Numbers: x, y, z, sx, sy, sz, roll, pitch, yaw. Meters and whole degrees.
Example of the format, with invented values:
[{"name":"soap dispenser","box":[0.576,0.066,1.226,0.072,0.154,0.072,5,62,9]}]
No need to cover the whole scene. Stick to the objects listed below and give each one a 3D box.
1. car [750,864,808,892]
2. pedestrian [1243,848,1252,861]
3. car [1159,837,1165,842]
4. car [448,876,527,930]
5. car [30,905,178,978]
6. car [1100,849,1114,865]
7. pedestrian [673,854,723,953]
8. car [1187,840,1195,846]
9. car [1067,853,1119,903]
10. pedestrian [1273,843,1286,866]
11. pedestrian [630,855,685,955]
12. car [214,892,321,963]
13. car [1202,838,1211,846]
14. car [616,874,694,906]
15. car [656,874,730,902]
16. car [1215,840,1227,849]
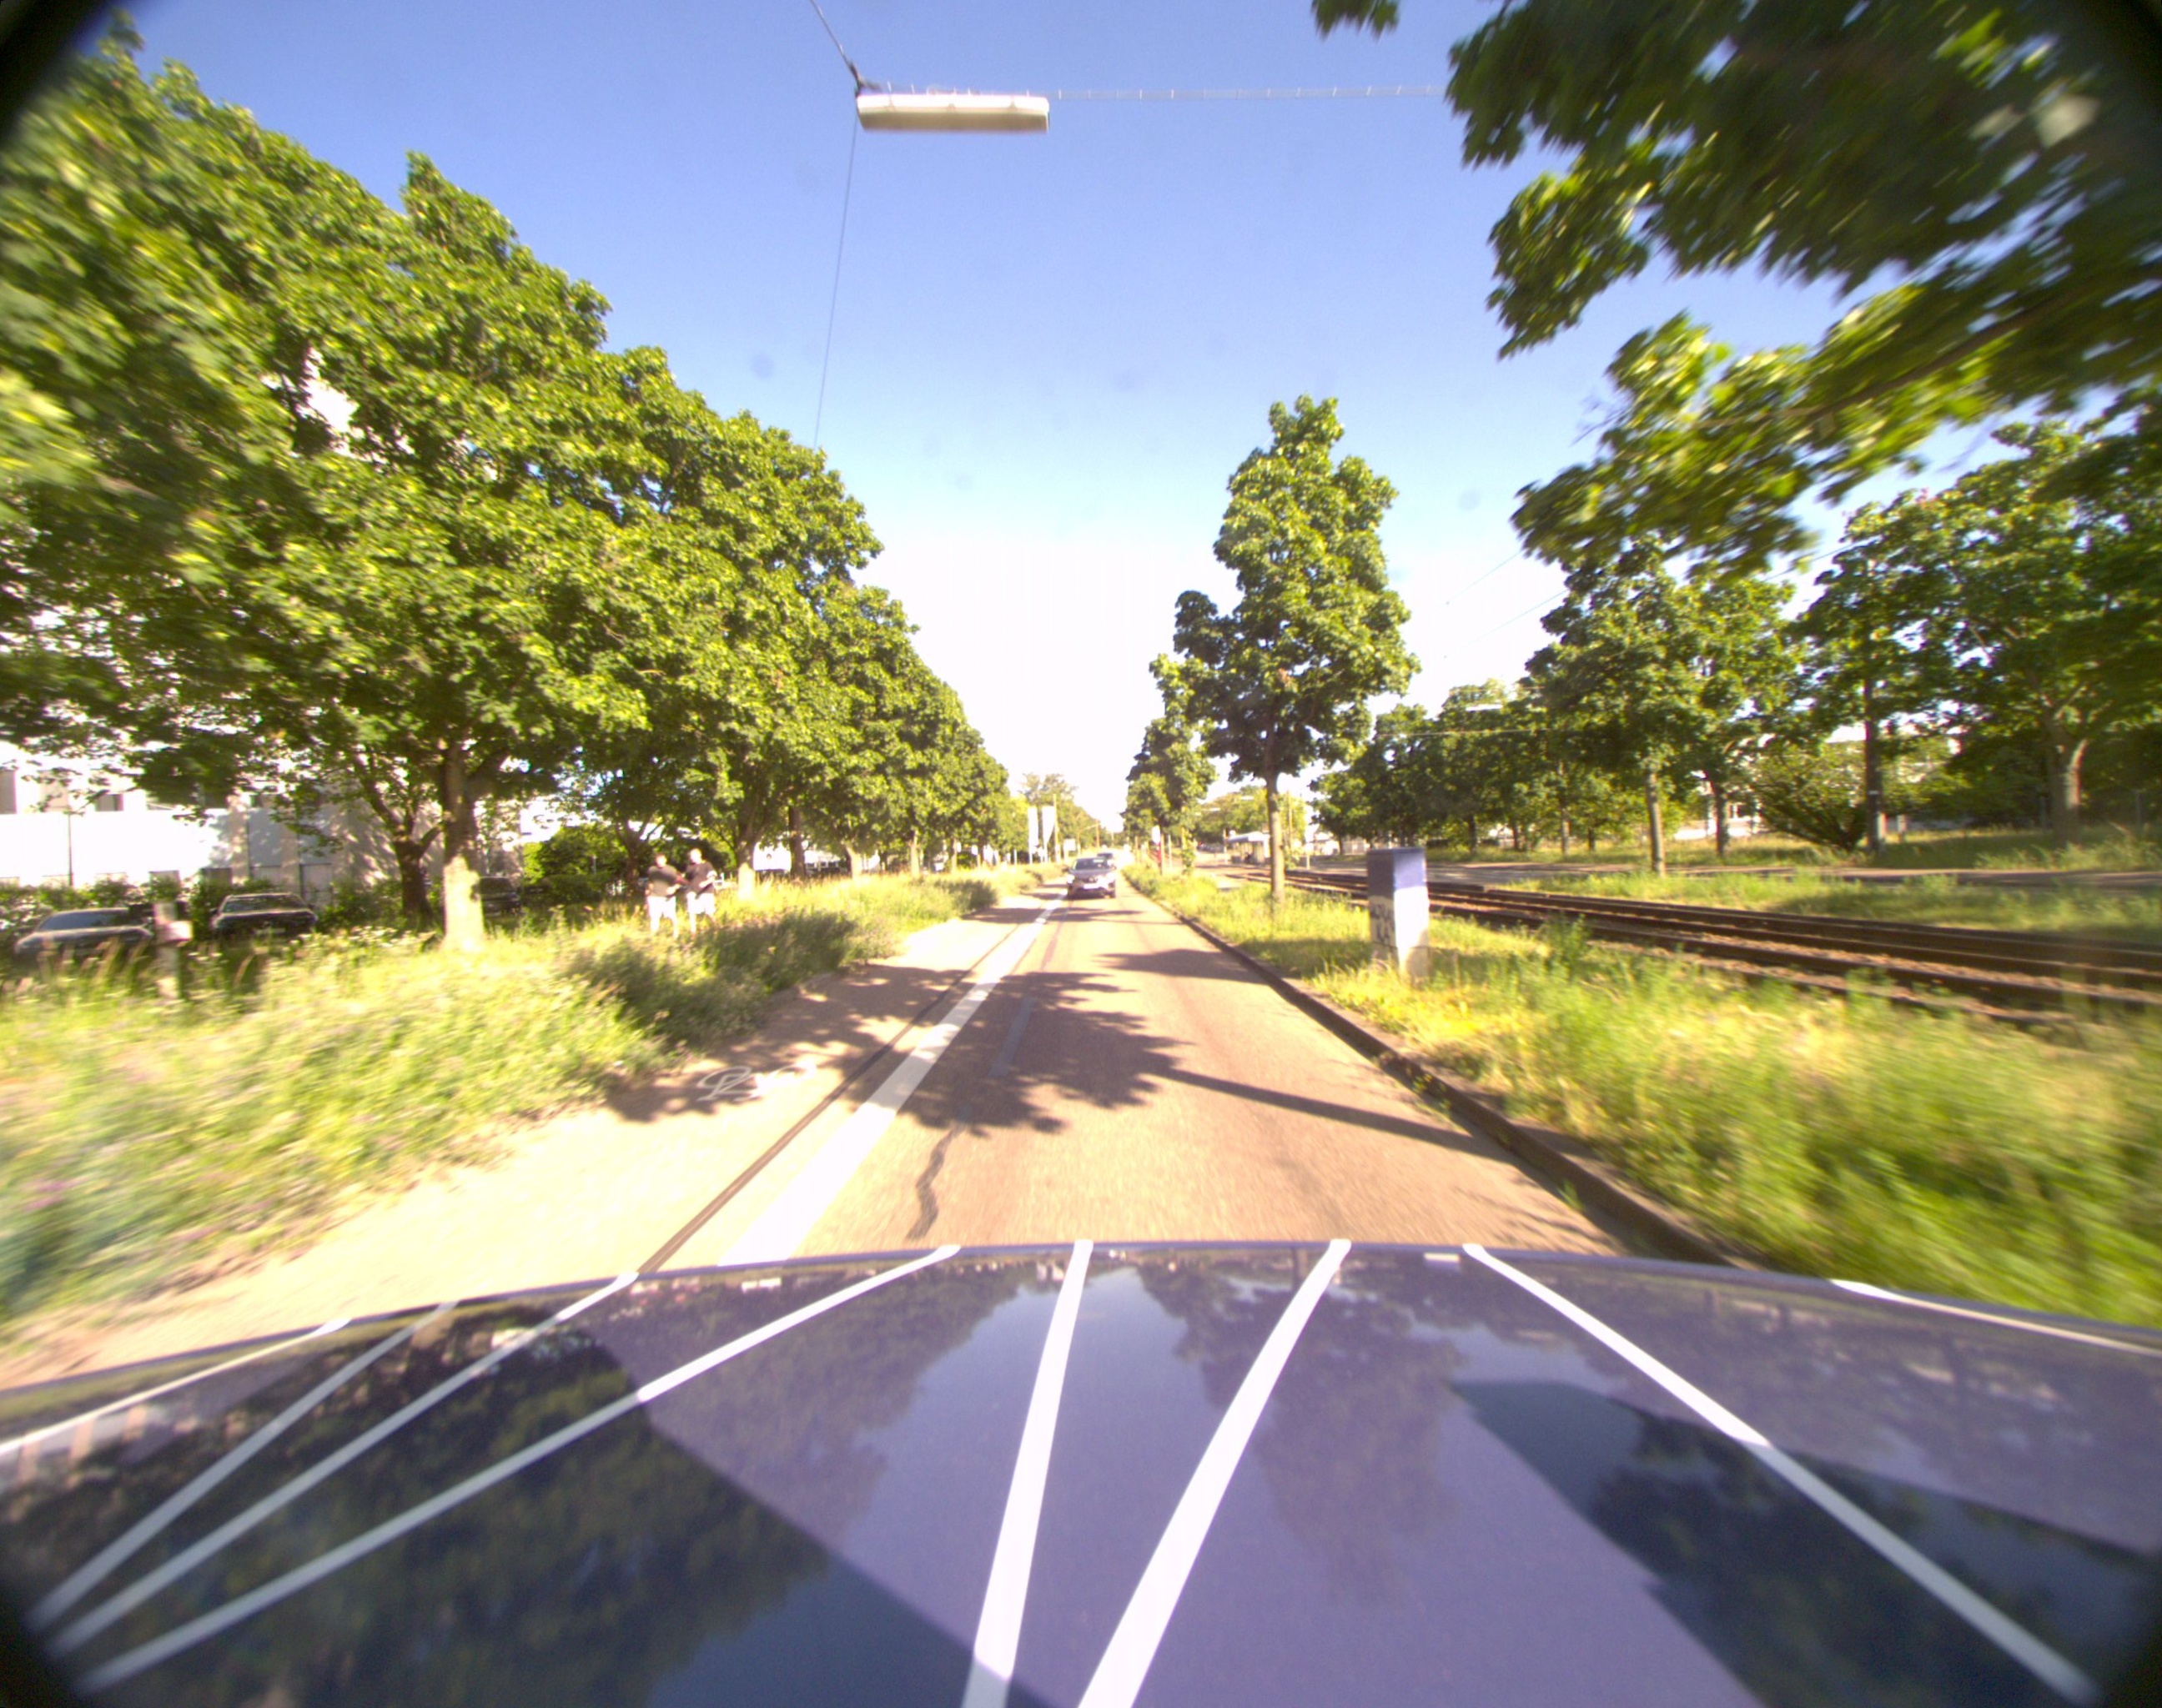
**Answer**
[{"name":"car","box":[-21.995,1.743,55.206,2.083,1.865,5.173,-4,0,-44]},{"name":"pedestrian","box":[15.917,0.042,72.775,0.650,1.241,0.681,0,0,-7]},{"name":"car","box":[26.733,-4.801,250.807,1.701,1.575,3.456,-2,0,0]},{"name":"car","box":[-22.616,1.812,28.871,1.922,1.741,5.442,-3,0,-42]},{"name":"car","box":[-22.466,1.934,17.629,3.977,1.333,1.712,-3,0,43]},{"name":"car","box":[3.013,0.331,88.604,1.555,1.764,3.456,-2,0,0]},{"name":"pedestrian","box":[-7.718,0.981,15.352,0.711,1.906,0.815,-3,1,-21]},{"name":"car","box":[30.417,-2.911,210.994,1.701,1.575,3.456,-2,0,0]},{"name":"car","box":[0.449,0.840,28.740,1.750,1.585,4.246,-3,1,0]},{"name":"pedestrian","box":[15.200,0.041,58.193,0.786,1.741,0.781,-3,1,1]},{"name":"pedestrian","box":[-8.569,1.007,15.407,0.710,1.919,0.815,-3,1,-17]},{"name":"car","box":[-22.294,1.926,20.781,3.977,1.629,1.727,-3,0,40]},{"name":"car","box":[29.233,-2.795,177.151,1.701,1.575,3.456,-2,0,0]},{"name":"car","box":[-22.731,1.947,40.448,4.537,1.506,1.851,-3,0,36]},{"name":"car","box":[-22.256,1.958,43.529,4.537,1.440,1.851,-3,0,36]},{"name":"car","box":[27.934,-1.883,151.720,1.771,1.575,3.456,-2,0,0]}]
